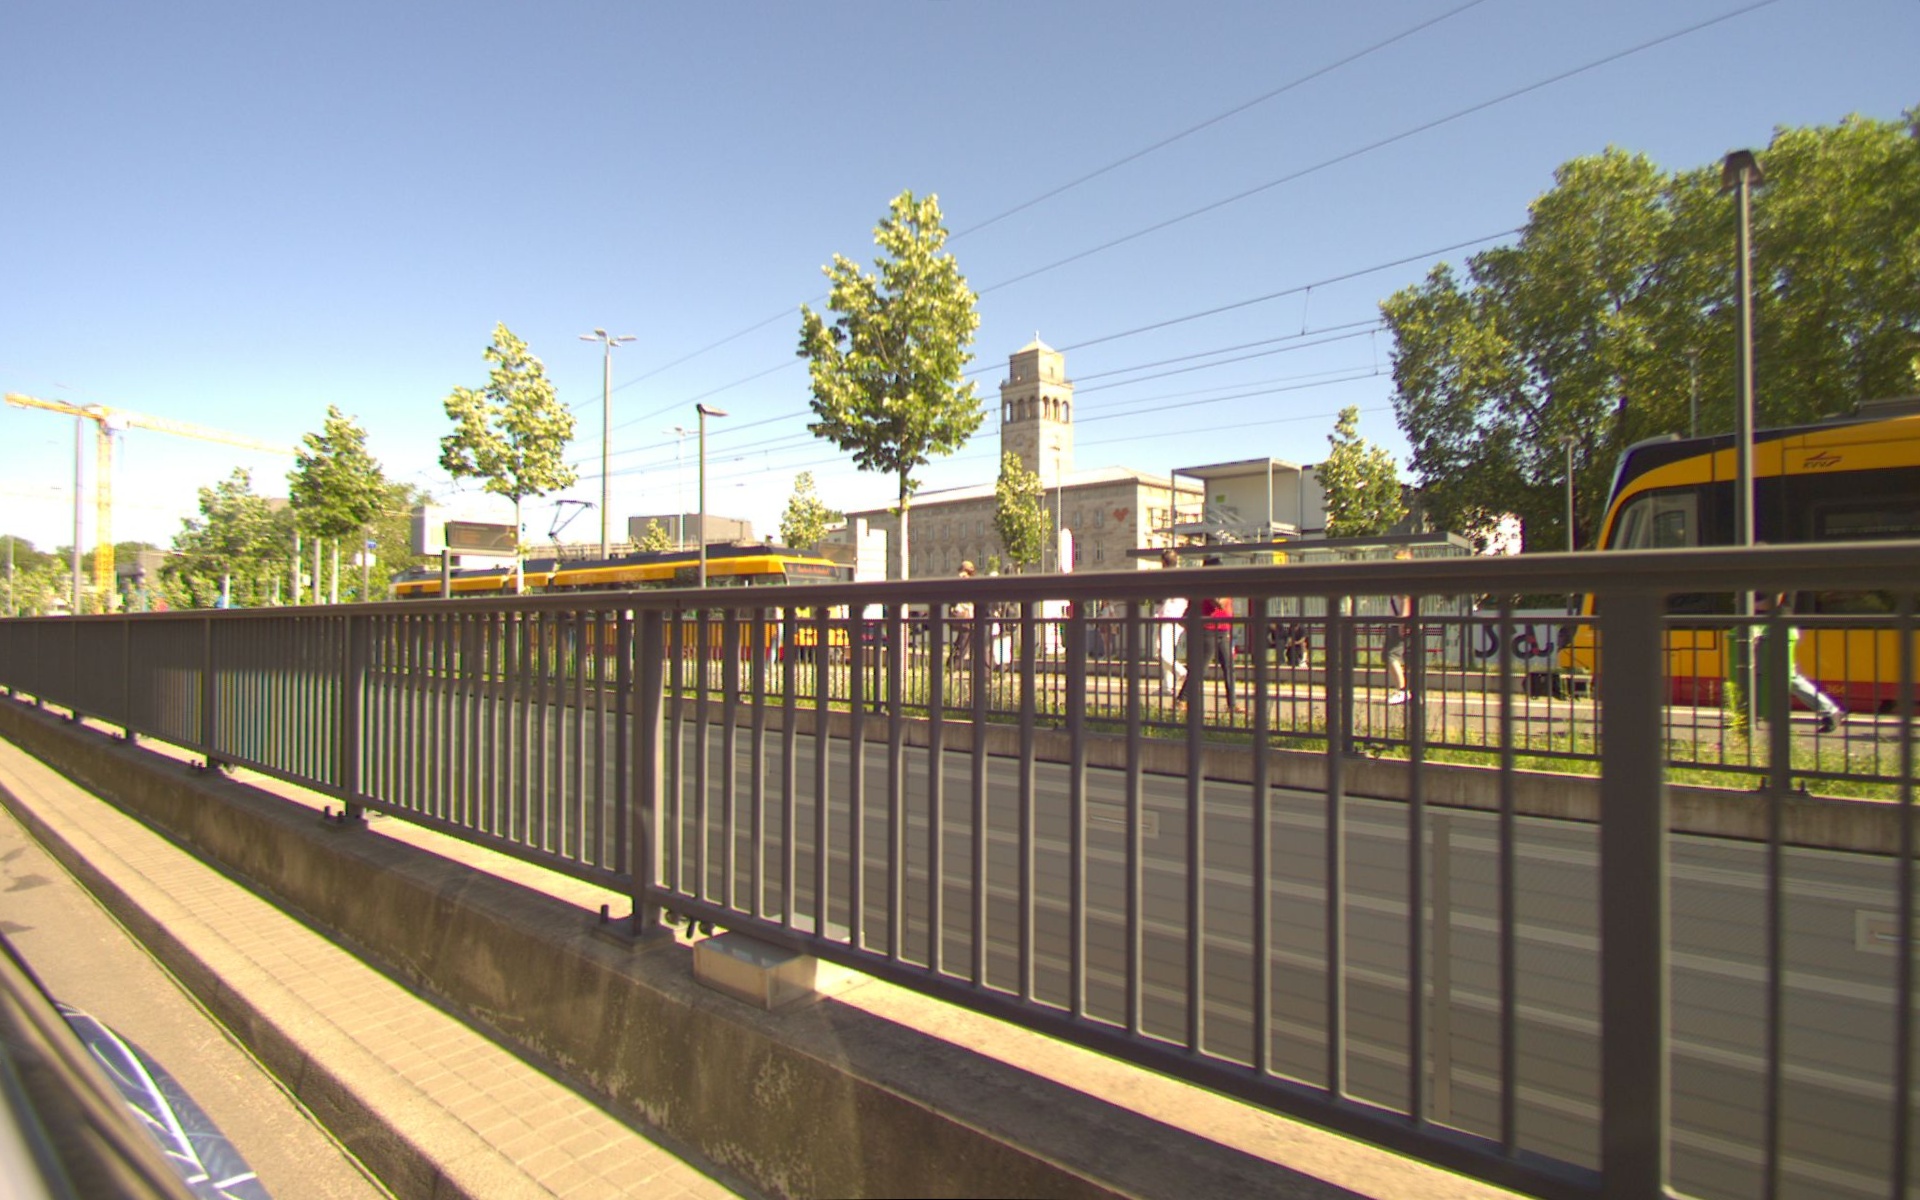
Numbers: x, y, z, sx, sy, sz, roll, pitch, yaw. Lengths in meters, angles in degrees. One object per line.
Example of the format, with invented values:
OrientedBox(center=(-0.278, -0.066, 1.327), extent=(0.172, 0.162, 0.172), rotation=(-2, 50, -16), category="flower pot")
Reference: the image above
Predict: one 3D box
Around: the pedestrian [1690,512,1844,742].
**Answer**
OrientedBox(center=(6.207, 0.199, 7.786), extent=(0.861, 1.641, 0.733), rotation=(-1, -2, 42), category="pedestrian")

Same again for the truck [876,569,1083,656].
OrientedBox(center=(0.572, 0.454, 38.315), extent=(7.949, 2.992, 2.690), rotation=(-1, 0, 41), category="truck")

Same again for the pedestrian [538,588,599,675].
OrientedBox(center=(-8.327, 0.658, 21.538), extent=(0.977, 1.788, 0.783), rotation=(-3, -1, 38), category="pedestrian")

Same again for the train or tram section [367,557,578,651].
OrientedBox(center=(-20.222, 0.231, 41.270), extent=(13.066, 3.334, 2.840), rotation=(-2, 0, 41), category="train or tram section")

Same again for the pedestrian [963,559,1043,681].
OrientedBox(center=(0.664, 0.314, 15.735), extent=(1.074, 1.824, 0.665), rotation=(-1, -2, 41), category="pedestrian")

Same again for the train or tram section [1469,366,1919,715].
OrientedBox(center=(12.785, -0.662, 8.248), extent=(15.178, 3.304, 2.840), rotation=(-2, 0, 41), category="train or tram section")

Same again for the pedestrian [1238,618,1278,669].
OrientedBox(center=(6.829, 0.986, 23.202), extent=(0.682, 1.138, 0.649), rotation=(-1, -2, 39), category="pedestrian")

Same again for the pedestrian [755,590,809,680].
OrientedBox(center=(-3.083, 0.600, 17.537), extent=(0.588, 1.524, 0.641), rotation=(-3, -1, 38), category="pedestrian")

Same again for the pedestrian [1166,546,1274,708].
OrientedBox(center=(2.767, 0.284, 10.776), extent=(0.861, 1.641, 0.733), rotation=(-1, -2, 42), category="pedestrian")

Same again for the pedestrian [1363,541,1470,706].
OrientedBox(center=(4.991, 0.253, 11.065), extent=(0.861, 1.707, 0.733), rotation=(-1, -2, 42), category="pedestrian")

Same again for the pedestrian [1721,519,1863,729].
OrientedBox(center=(6.979, 0.196, 8.491), extent=(0.861, 1.641, 0.733), rotation=(-1, -2, 42), category="pedestrian")

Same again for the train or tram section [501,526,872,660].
OrientedBox(center=(-9.316, -0.058, 31.599), extent=(15.958, 3.346, 2.818), rotation=(-1, 0, 41), category="train or tram section")

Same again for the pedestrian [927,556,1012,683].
OrientedBox(center=(0.143, 0.293, 15.163), extent=(1.030, 1.824, 0.761), rotation=(-1, -2, 41), category="pedestrian")

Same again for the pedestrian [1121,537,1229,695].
OrientedBox(center=(2.684, 0.203, 12.652), extent=(1.007, 1.865, 0.877), rotation=(-1, -2, 41), category="pedestrian")

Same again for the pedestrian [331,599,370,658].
OrientedBox(center=(-18.721, 0.876, 31.071), extent=(0.958, 1.788, 0.696), rotation=(-3, -1, 38), category="pedestrian")

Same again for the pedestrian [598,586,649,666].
OrientedBox(center=(-7.726, 0.595, 23.243), extent=(0.825, 1.788, 0.754), rotation=(-3, -1, 38), category="pedestrian")

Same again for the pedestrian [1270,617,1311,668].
OrientedBox(center=(7.470, 0.951, 22.847), extent=(0.682, 1.138, 0.649), rotation=(-1, -2, 39), category="pedestrian")

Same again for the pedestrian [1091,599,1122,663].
OrientedBox(center=(3.742, 0.781, 25.829), extent=(0.590, 1.605, 0.525), rotation=(-1, -2, 39), category="pedestrian")

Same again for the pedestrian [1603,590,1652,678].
OrientedBox(center=(12.497, 0.624, 18.939), extent=(0.682, 1.605, 0.649), rotation=(-1, -2, 39), category="pedestrian")

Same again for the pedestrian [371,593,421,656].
OrientedBox(center=(-16.418, 0.719, 29.448), extent=(1.187, 1.788, 0.865), rotation=(-3, -1, 38), category="pedestrian")
